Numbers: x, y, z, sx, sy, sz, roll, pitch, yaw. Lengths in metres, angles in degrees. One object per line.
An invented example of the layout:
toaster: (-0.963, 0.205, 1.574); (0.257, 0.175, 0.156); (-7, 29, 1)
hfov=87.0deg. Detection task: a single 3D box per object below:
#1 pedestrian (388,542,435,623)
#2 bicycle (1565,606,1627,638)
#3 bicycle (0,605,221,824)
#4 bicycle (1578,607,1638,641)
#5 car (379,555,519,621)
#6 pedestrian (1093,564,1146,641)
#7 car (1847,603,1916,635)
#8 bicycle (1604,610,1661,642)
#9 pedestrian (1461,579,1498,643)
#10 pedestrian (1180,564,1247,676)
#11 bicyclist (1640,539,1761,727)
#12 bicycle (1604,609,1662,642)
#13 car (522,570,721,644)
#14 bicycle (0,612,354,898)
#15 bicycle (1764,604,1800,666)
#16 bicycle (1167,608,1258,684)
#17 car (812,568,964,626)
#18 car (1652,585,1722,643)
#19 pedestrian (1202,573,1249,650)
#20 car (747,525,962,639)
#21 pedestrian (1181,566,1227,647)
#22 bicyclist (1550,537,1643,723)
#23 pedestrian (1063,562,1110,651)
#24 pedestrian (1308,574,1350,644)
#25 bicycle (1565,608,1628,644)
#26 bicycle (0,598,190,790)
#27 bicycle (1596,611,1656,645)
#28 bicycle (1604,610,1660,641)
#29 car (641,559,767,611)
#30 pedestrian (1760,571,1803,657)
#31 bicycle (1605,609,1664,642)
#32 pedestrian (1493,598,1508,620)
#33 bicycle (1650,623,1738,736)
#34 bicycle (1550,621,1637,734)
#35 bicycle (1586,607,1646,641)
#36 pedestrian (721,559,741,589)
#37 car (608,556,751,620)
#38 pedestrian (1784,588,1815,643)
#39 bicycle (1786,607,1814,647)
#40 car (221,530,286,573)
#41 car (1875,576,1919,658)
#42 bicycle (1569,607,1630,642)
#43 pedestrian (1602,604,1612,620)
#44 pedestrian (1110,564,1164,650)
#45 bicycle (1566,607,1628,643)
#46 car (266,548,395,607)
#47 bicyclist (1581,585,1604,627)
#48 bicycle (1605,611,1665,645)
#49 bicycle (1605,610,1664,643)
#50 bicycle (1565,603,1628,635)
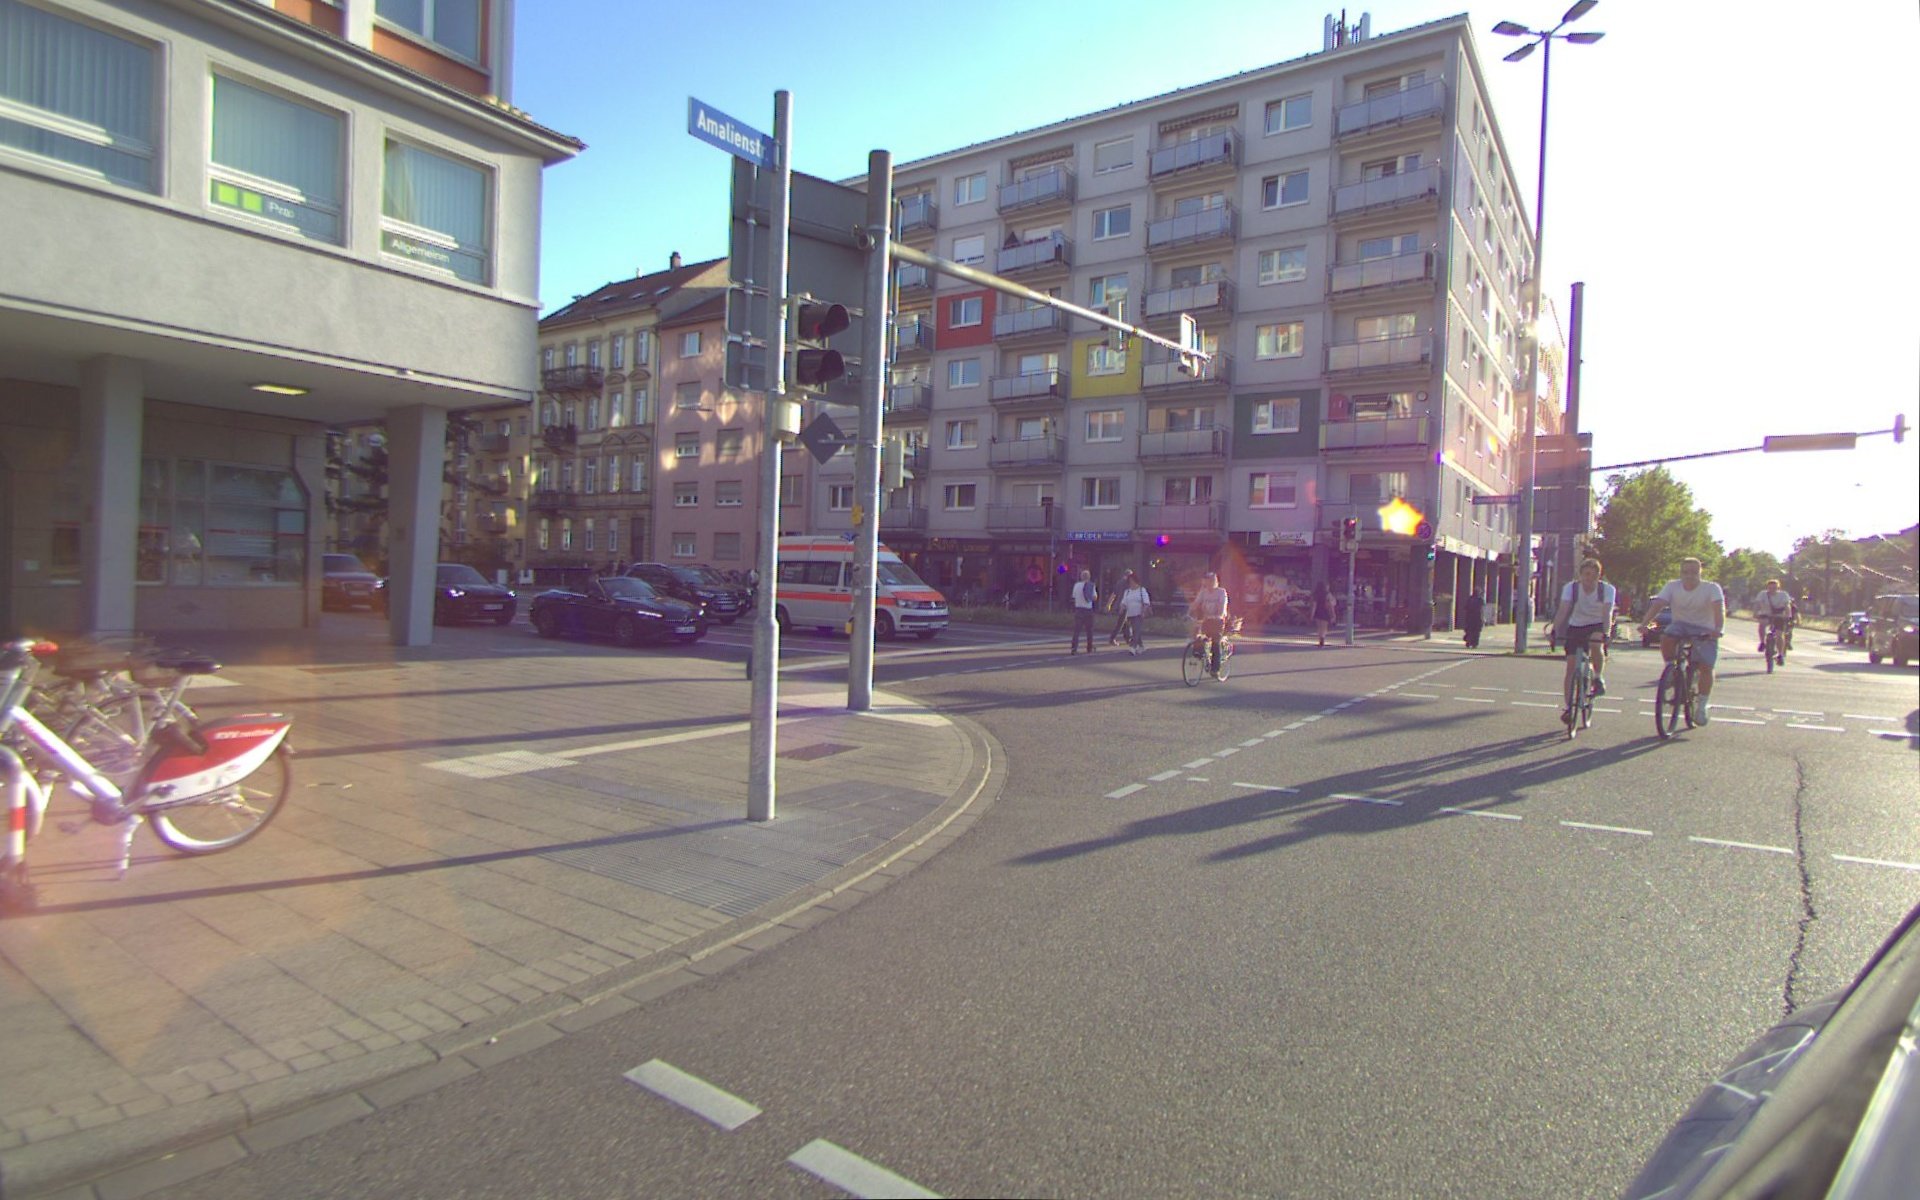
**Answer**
pedestrian: (-12.409, -0.396, 22.910); (0.815, 1.778, 0.631); (3, 1, 38)
bicycle: (23.247, 0.784, 36.998); (1.860, 1.074, 0.600); (3, 1, 33)
bicycle: (-5.336, 0.611, 5.631); (0.643, 1.141, 1.849); (3, 0, 36)
bicycle: (25.010, 0.917, 39.099); (1.860, 1.139, 0.562); (6, 3, 32)
car: (-13.151, -0.333, 25.966); (3.754, 1.528, 1.732); (3, 1, 37)
pedestrian: (3.671, 0.051, 23.294); (0.781, 1.722, 1.014); (3, 1, 36)
car: (42.974, 0.869, 47.264); (1.804, 1.418, 3.871); (0, 0, 34)
bicycle: (28.009, 1.063, 42.178); (1.860, 1.139, 0.562); (6, 3, 32)
pedestrian: (14.594, 0.305, 28.438); (0.661, 1.726, 1.056); (3, 1, 39)
pedestrian: (3.792, 0.270, 15.145); (0.675, 1.609, 0.750); (3, 3, 42)
bicyclist: (7.688, 0.305, 10.503); (0.827, 1.830, 1.040); (2, 1, 45)
bicycle: (27.711, 1.044, 41.692); (1.860, 1.139, 0.562); (6, 3, 32)
car: (-7.468, 0.095, 22.111); (4.651, 1.357, 1.815); (3, 1, 37)
bicycle: (-3.944, 0.645, 4.665); (0.643, 1.141, 1.849); (3, 0, 36)
bicycle: (16.426, 0.676, 20.237); (0.528, 1.173, 1.823); (1, 1, 39)
bicycle: (3.781, 0.657, 15.067); (0.520, 0.992, 1.822); (3, 3, 41)
car: (-2.020, -0.137, 28.005); (3.976, 1.393, 1.783); (3, 2, 36)
car: (27.035, 0.462, 37.754); (1.930, 1.957, 4.772); (3, 2, 34)
pedestrian: (5.454, 0.227, 20.777); (0.680, 1.518, 0.737); (3, 1, 36)
car: (-2.657, -0.505, 24.631); (5.234, 2.513, 1.901); (3, 1, 36)
pedestrian: (5.214, 0.132, 21.631); (0.680, 1.683, 0.737); (3, 1, 36)
bicyclist: (6.657, 0.286, 10.572); (0.673, 1.830, 0.980); (2, 1, 38)
pedestrian: (2.543, 0.120, 20.342); (0.567, 1.722, 0.801); (2, 1, 36)
pedestrian: (8.720, 0.199, 23.919); (0.681, 1.609, 0.736); (3, 1, 40)
bicycle: (23.569, 0.953, 37.506); (1.860, 1.139, 0.600); (6, 3, 32)
bicycle: (-6.252, 0.581, 6.388); (0.643, 1.172, 2.096); (3, 1, 36)
bicycle: (26.221, 1.072, 39.856); (1.860, 1.139, 0.562); (6, 3, 32)
bicycle: (28.598, 1.063, 43.091); (1.860, 1.139, 0.562); (6, 3, 32)
car: (-8.173, -0.490, 32.149); (3.977, 1.482, 1.764); (3, 2, 37)
pedestrian: (16.418, 0.264, 20.231); (0.637, 1.669, 0.831); (1, 0, 40)
bicycle: (27.434, 1.043, 41.196); (1.860, 1.139, 0.562); (6, 3, 32)
pedestrian: (29.335, 0.504, 54.953); (0.602, 1.166, 0.719); (2, 1, 34)
bicycle: (7.652, 0.779, 10.519); (0.478, 1.041, 1.950); (1, 0, 44)
bicycle: (6.656, 0.760, 10.593); (0.574, 1.041, 1.831); (1, 0, 38)
bicycle: (25.594, 0.912, 39.518); (1.860, 1.139, 0.562); (6, 3, 32)
pedestrian: (-12.118, -1.370, 53.549); (0.723, 1.596, 0.702); (3, 1, 35)
car: (-7.832, -0.349, 28.120); (4.058, 1.590, 1.577); (3, 1, 35)
pedestrian: (25.866, 0.466, 31.182); (0.675, 1.669, 0.889); (1, 0, 37)
bicycle: (25.775, 0.806, 31.069); (0.527, 1.173, 1.824); (1, 1, 37)
car: (-47.800, -3.314, 68.419); (4.516, 2.755, 2.065); (3, 1, 34)
car: (25.574, 0.443, 26.286); (1.908, 2.014, 4.887); (2, 1, 34)
bicycle: (24.372, 0.911, 38.608); (1.860, 1.139, 0.562); (6, 3, 32)
pedestrian: (61.163, 1.100, 95.674); (0.723, 1.457, 0.913); (2, 1, 34)
pedestrian: (3.625, 0.134, 20.715); (0.726, 1.683, 0.894); (3, 1, 36)
bicycle: (23.898, 0.931, 37.991); (1.860, 1.139, 0.562); (6, 3, 32)
car: (-18.735, -0.692, 30.086); (3.979, 1.593, 1.973); (3, 1, 38)
bicyclist: (28.485, 0.252, 45.562); (0.740, 1.830, 1.367); (2, 1, 37)
bicycle: (26.823, 1.092, 40.244); (1.860, 1.139, 0.562); (6, 3, 32)
bicycle: (27.122, 1.064, 40.725); (1.860, 1.139, 0.562); (6, 3, 32)
bicycle: (22.927, 0.673, 36.478); (1.860, 1.074, 0.600); (3, 1, 33)
